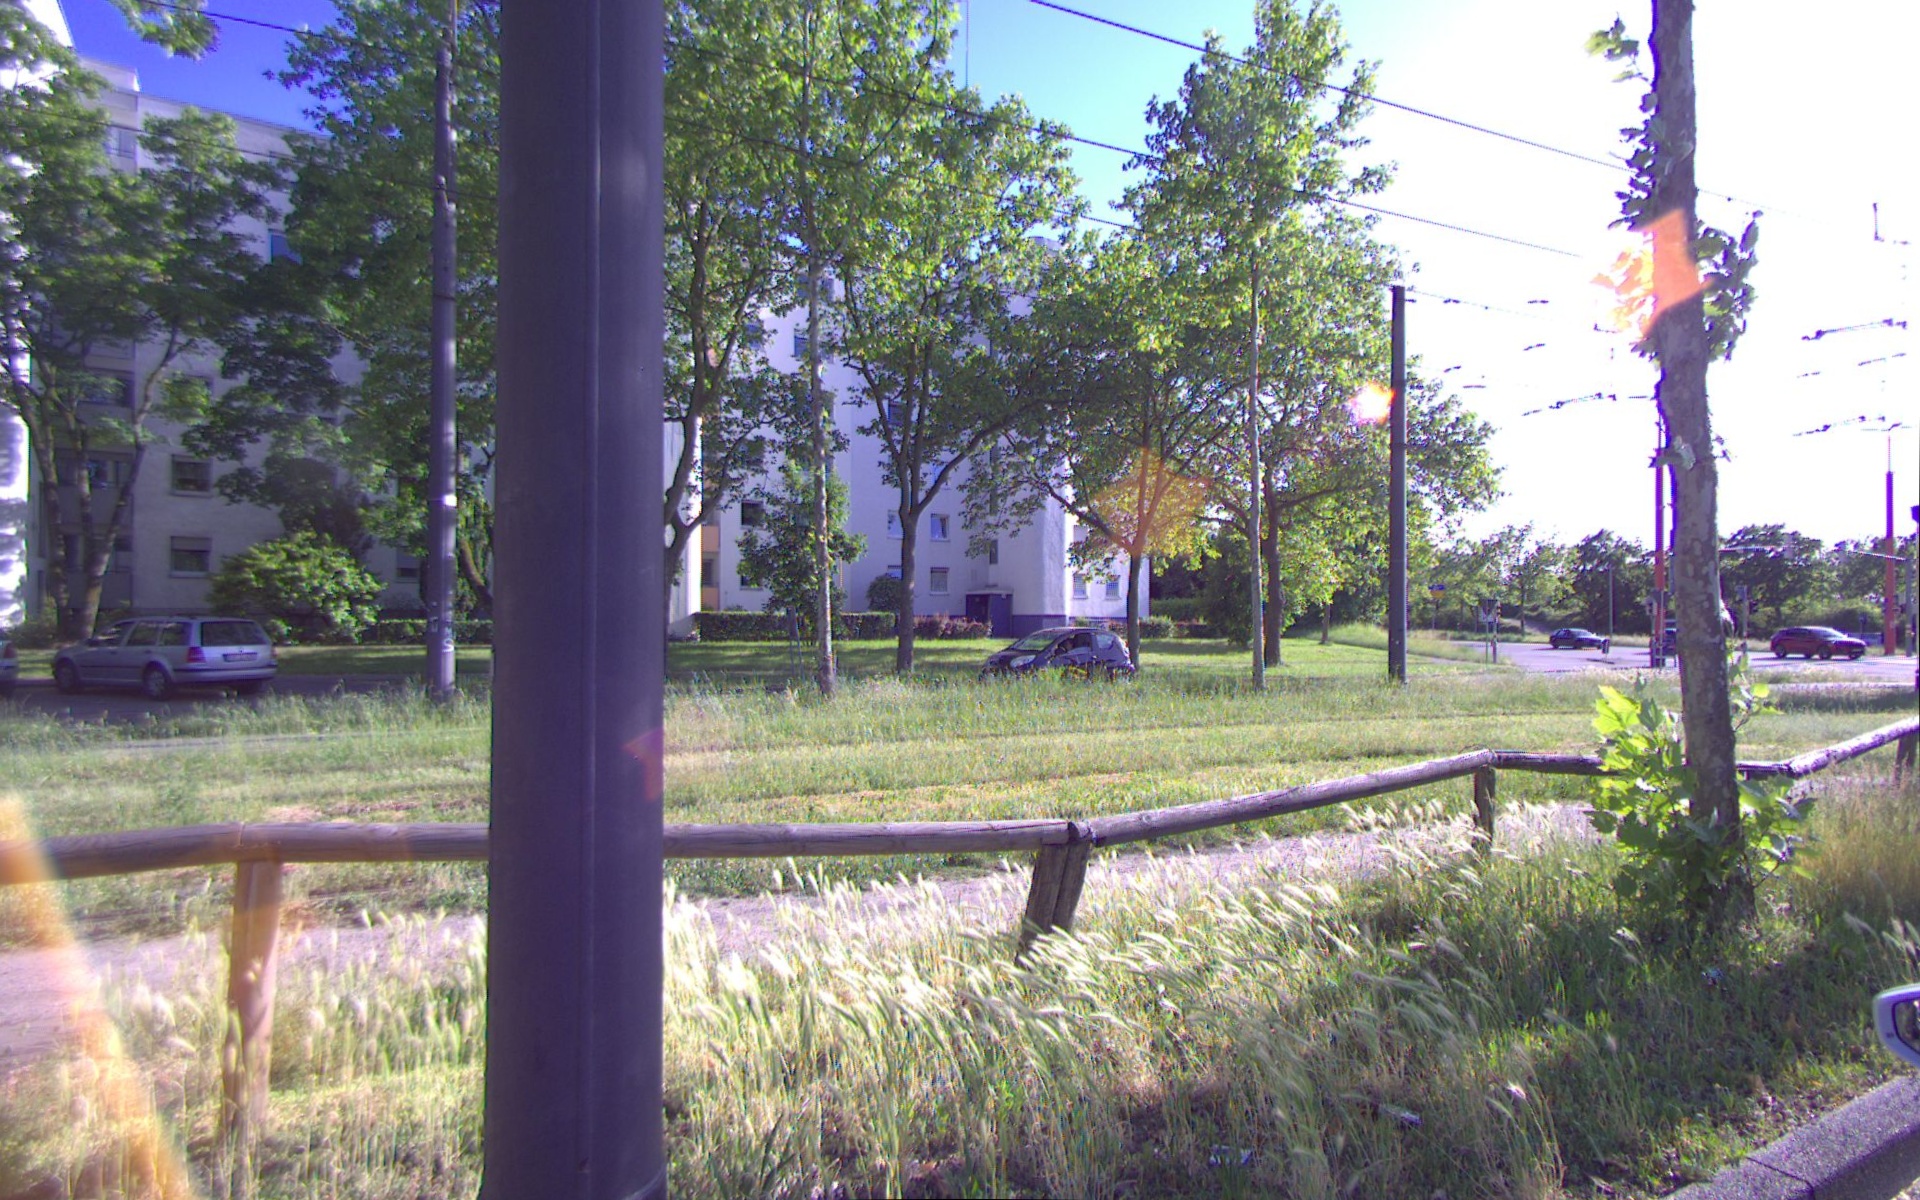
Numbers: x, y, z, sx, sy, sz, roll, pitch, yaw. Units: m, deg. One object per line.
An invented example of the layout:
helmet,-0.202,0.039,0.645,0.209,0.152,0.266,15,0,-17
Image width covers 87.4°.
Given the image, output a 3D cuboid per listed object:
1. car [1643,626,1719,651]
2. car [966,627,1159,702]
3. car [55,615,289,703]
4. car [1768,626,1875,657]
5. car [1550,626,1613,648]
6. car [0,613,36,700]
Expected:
car,45.697,2.409,63.772,1.877,1.483,4.055,1,-1,-2
car,2.173,1.318,21.281,3.711,1.439,1.814,1,-1,-28
car,-14.480,1.025,18.481,3.609,1.452,1.732,0,-1,20
car,45.905,2.188,53.673,1.877,1.483,4.373,1,-1,-2
car,45.511,2.669,73.636,1.877,1.483,4.239,1,-1,-3
car,-17.924,0.926,17.137,3.609,1.452,1.703,0,-1,20
